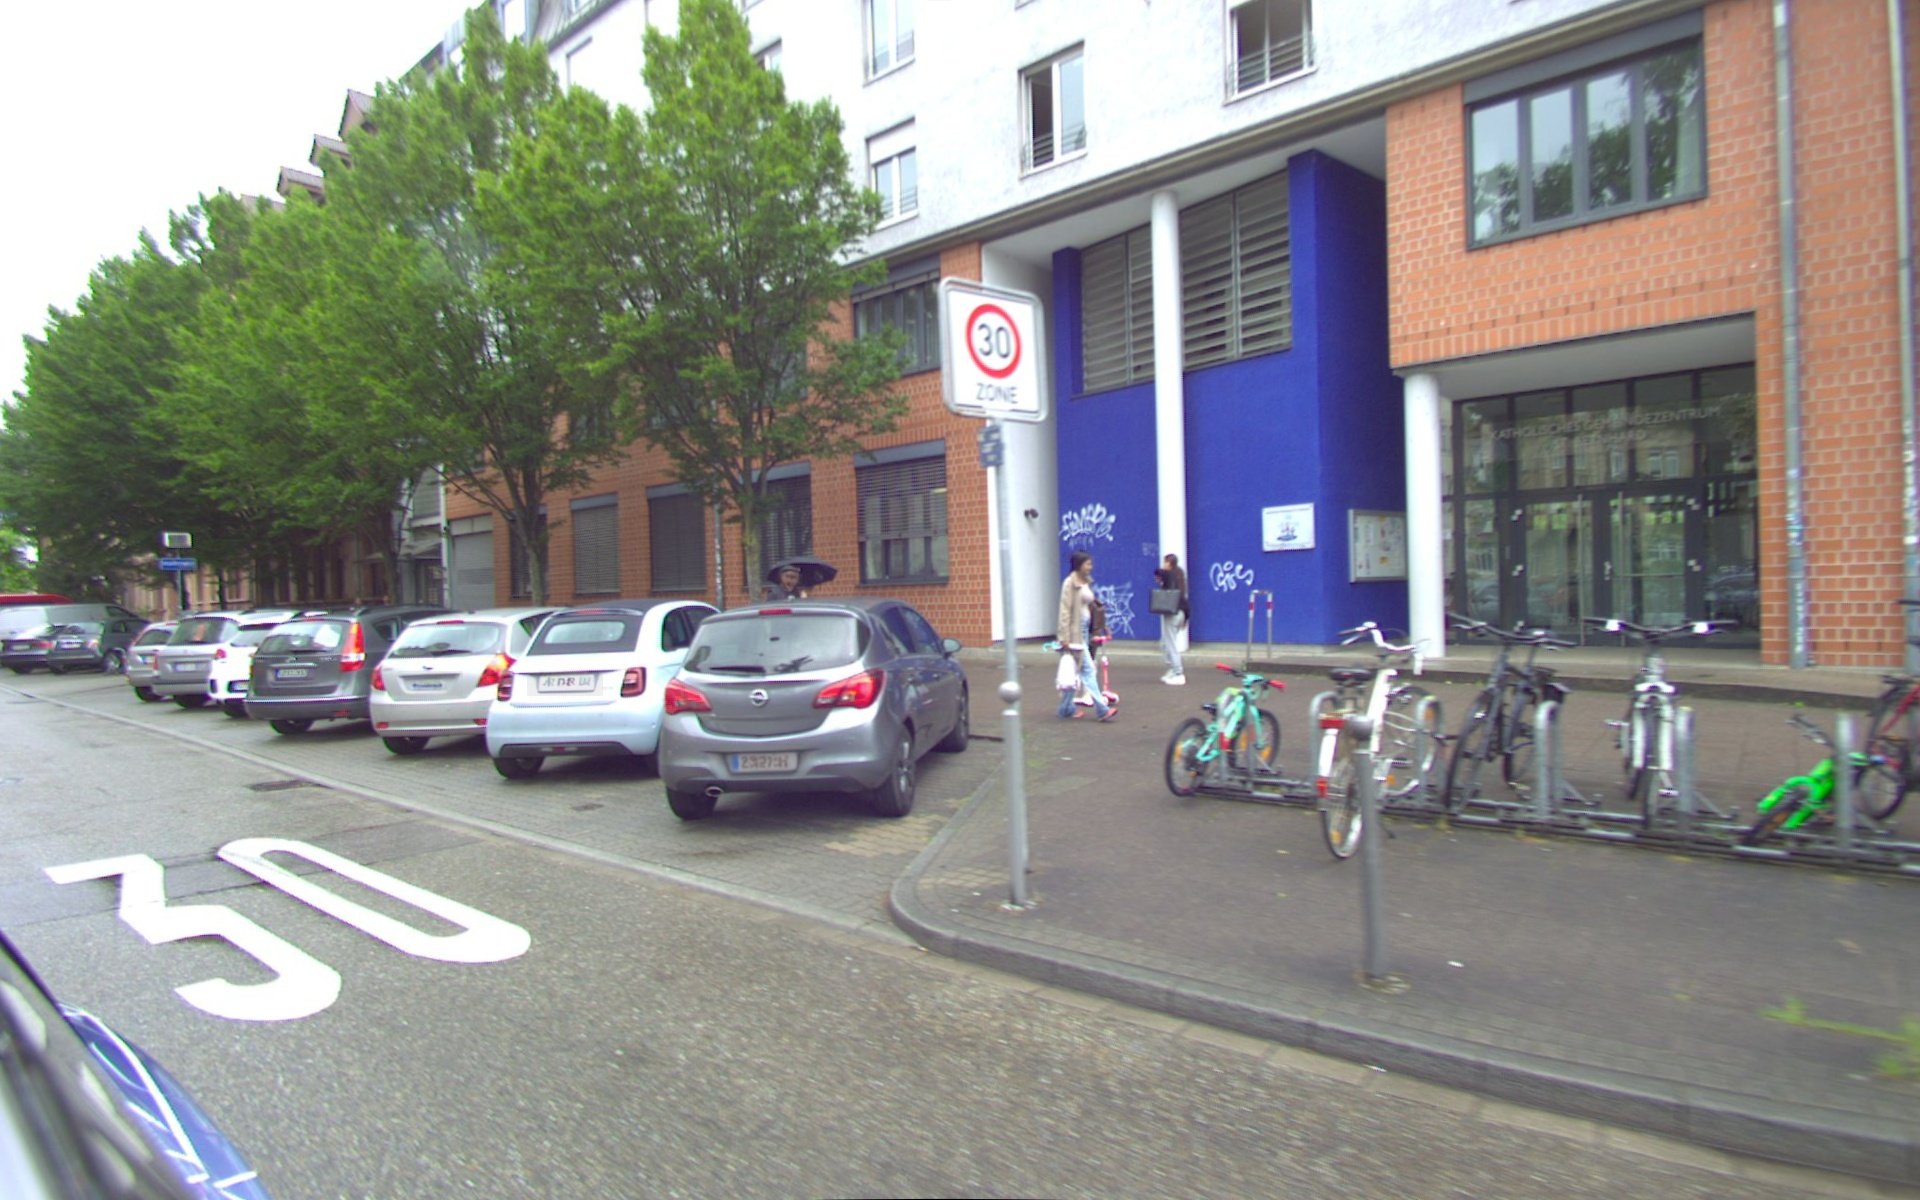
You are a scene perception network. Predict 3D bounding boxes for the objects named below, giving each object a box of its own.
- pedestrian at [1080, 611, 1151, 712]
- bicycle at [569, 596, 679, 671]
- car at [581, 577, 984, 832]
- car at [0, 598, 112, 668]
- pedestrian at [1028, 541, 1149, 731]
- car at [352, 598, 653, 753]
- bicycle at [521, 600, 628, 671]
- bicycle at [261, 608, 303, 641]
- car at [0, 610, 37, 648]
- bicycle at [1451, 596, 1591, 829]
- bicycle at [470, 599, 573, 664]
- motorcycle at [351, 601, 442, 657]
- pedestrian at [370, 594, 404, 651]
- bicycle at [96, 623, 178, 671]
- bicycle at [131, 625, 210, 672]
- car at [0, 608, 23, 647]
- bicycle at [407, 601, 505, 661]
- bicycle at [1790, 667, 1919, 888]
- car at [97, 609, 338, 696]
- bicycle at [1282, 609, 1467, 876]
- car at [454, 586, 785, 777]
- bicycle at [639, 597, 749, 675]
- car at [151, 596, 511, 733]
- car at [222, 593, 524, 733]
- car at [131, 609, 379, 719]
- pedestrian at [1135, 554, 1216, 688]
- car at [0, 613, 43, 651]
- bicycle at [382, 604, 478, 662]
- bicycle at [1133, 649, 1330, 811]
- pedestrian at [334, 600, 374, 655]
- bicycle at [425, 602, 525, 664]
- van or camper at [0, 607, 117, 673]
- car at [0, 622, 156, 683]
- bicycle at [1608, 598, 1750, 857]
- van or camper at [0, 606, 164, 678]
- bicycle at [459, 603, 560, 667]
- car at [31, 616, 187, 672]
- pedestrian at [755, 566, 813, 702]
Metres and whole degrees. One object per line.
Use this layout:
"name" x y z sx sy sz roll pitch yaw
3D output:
"pedestrian" 1.683 0.651 10.950 0.465 1.024 0.542 -5 2 -43
"bicycle" -6.240 0.602 18.895 0.553 1.160 1.878 -1 4 38
"car" -1.077 0.609 8.078 1.967 1.518 3.819 -1 1 10
"car" -36.938 1.278 39.576 2.207 2.560 5.551 -2 1 13
"pedestrian" 1.273 0.329 10.030 0.815 1.765 0.758 -5 2 -43
"car" -5.099 0.757 11.788 1.661 1.468 3.379 -2 1 7
"bicycle" -7.567 0.683 19.959 0.553 1.160 1.878 -1 4 38
"bicycle" -26.375 0.964 39.346 2.412 1.202 0.660 -2 4 42
"car" -49.620 1.604 50.773 2.543 1.798 4.534 -1 3 40
"bicycle" 3.322 0.568 5.924 0.505 1.105 1.707 -2 1 35
"bicycle" -9.256 0.646 21.445 0.553 1.160 1.878 -1 4 38
"motorcycle" -14.525 0.728 26.117 0.657 1.234 1.862 -2 4 44
"pedestrian" -16.714 0.649 29.520 0.588 1.613 0.562 -2 3 35
"bicycle" -21.666 1.243 26.643 2.207 1.166 0.744 -3 0 25
"bicycle" -21.345 1.325 27.360 2.134 1.166 0.778 -3 0 25
"car" -54.078 1.584 54.386 1.853 2.094 5.227 -1 1 16
"bicycle" -11.602 0.695 23.344 0.553 1.160 1.878 -1 4 38
"bicycle" 4.377 0.779 4.898 0.506 0.736 1.705 -2 2 41
"car" -13.903 0.918 19.225 1.664 1.463 3.708 -1 -1 5
"bicycle" 2.241 0.647 5.347 0.505 1.105 1.707 -2 1 35
"car" -3.111 0.657 9.980 1.662 1.518 3.376 -1 1 10
"bicycle" -4.743 0.618 18.187 0.553 1.160 1.878 -1 4 38
"car" -9.602 0.870 16.010 2.314 1.550 4.509 -1 4 12
"car" -7.518 0.726 13.357 1.662 1.553 3.377 -1 1 9
"car" -11.817 1.009 17.230 1.615 1.667 3.378 -1 -1 8
"pedestrian" 2.643 0.243 12.385 0.700 1.562 0.608 -5 2 -43
"car" -45.218 1.615 46.341 1.827 1.642 4.426 -3 3 14
"bicycle" -12.647 0.771 24.210 0.553 1.160 1.878 -1 4 38
"bicycle" 1.806 0.781 6.557 0.506 0.775 1.704 -2 2 41
"pedestrian" -17.280 0.775 28.873 0.586 1.507 0.682 -2 3 35
"bicycle" -10.831 0.712 22.659 0.553 1.160 1.878 -1 4 38
"van or camper" -32.239 1.362 35.164 1.760 1.990 4.439 -2 2 7
"car" -26.532 1.510 30.282 1.743 1.457 3.979 -3 2 0
"bicycle" 3.793 0.581 5.423 0.505 1.105 1.709 -2 1 33
"van or camper" -29.386 1.338 33.524 2.304 1.967 4.699 -3 2 -1
"bicycle" -9.708 0.731 21.875 0.553 1.160 1.878 -1 4 38
"car" -24.174 1.205 28.910 1.627 1.446 3.482 -1 0 -2
"pedestrian" -2.284 0.421 13.140 0.433 1.720 0.605 1 2 41
